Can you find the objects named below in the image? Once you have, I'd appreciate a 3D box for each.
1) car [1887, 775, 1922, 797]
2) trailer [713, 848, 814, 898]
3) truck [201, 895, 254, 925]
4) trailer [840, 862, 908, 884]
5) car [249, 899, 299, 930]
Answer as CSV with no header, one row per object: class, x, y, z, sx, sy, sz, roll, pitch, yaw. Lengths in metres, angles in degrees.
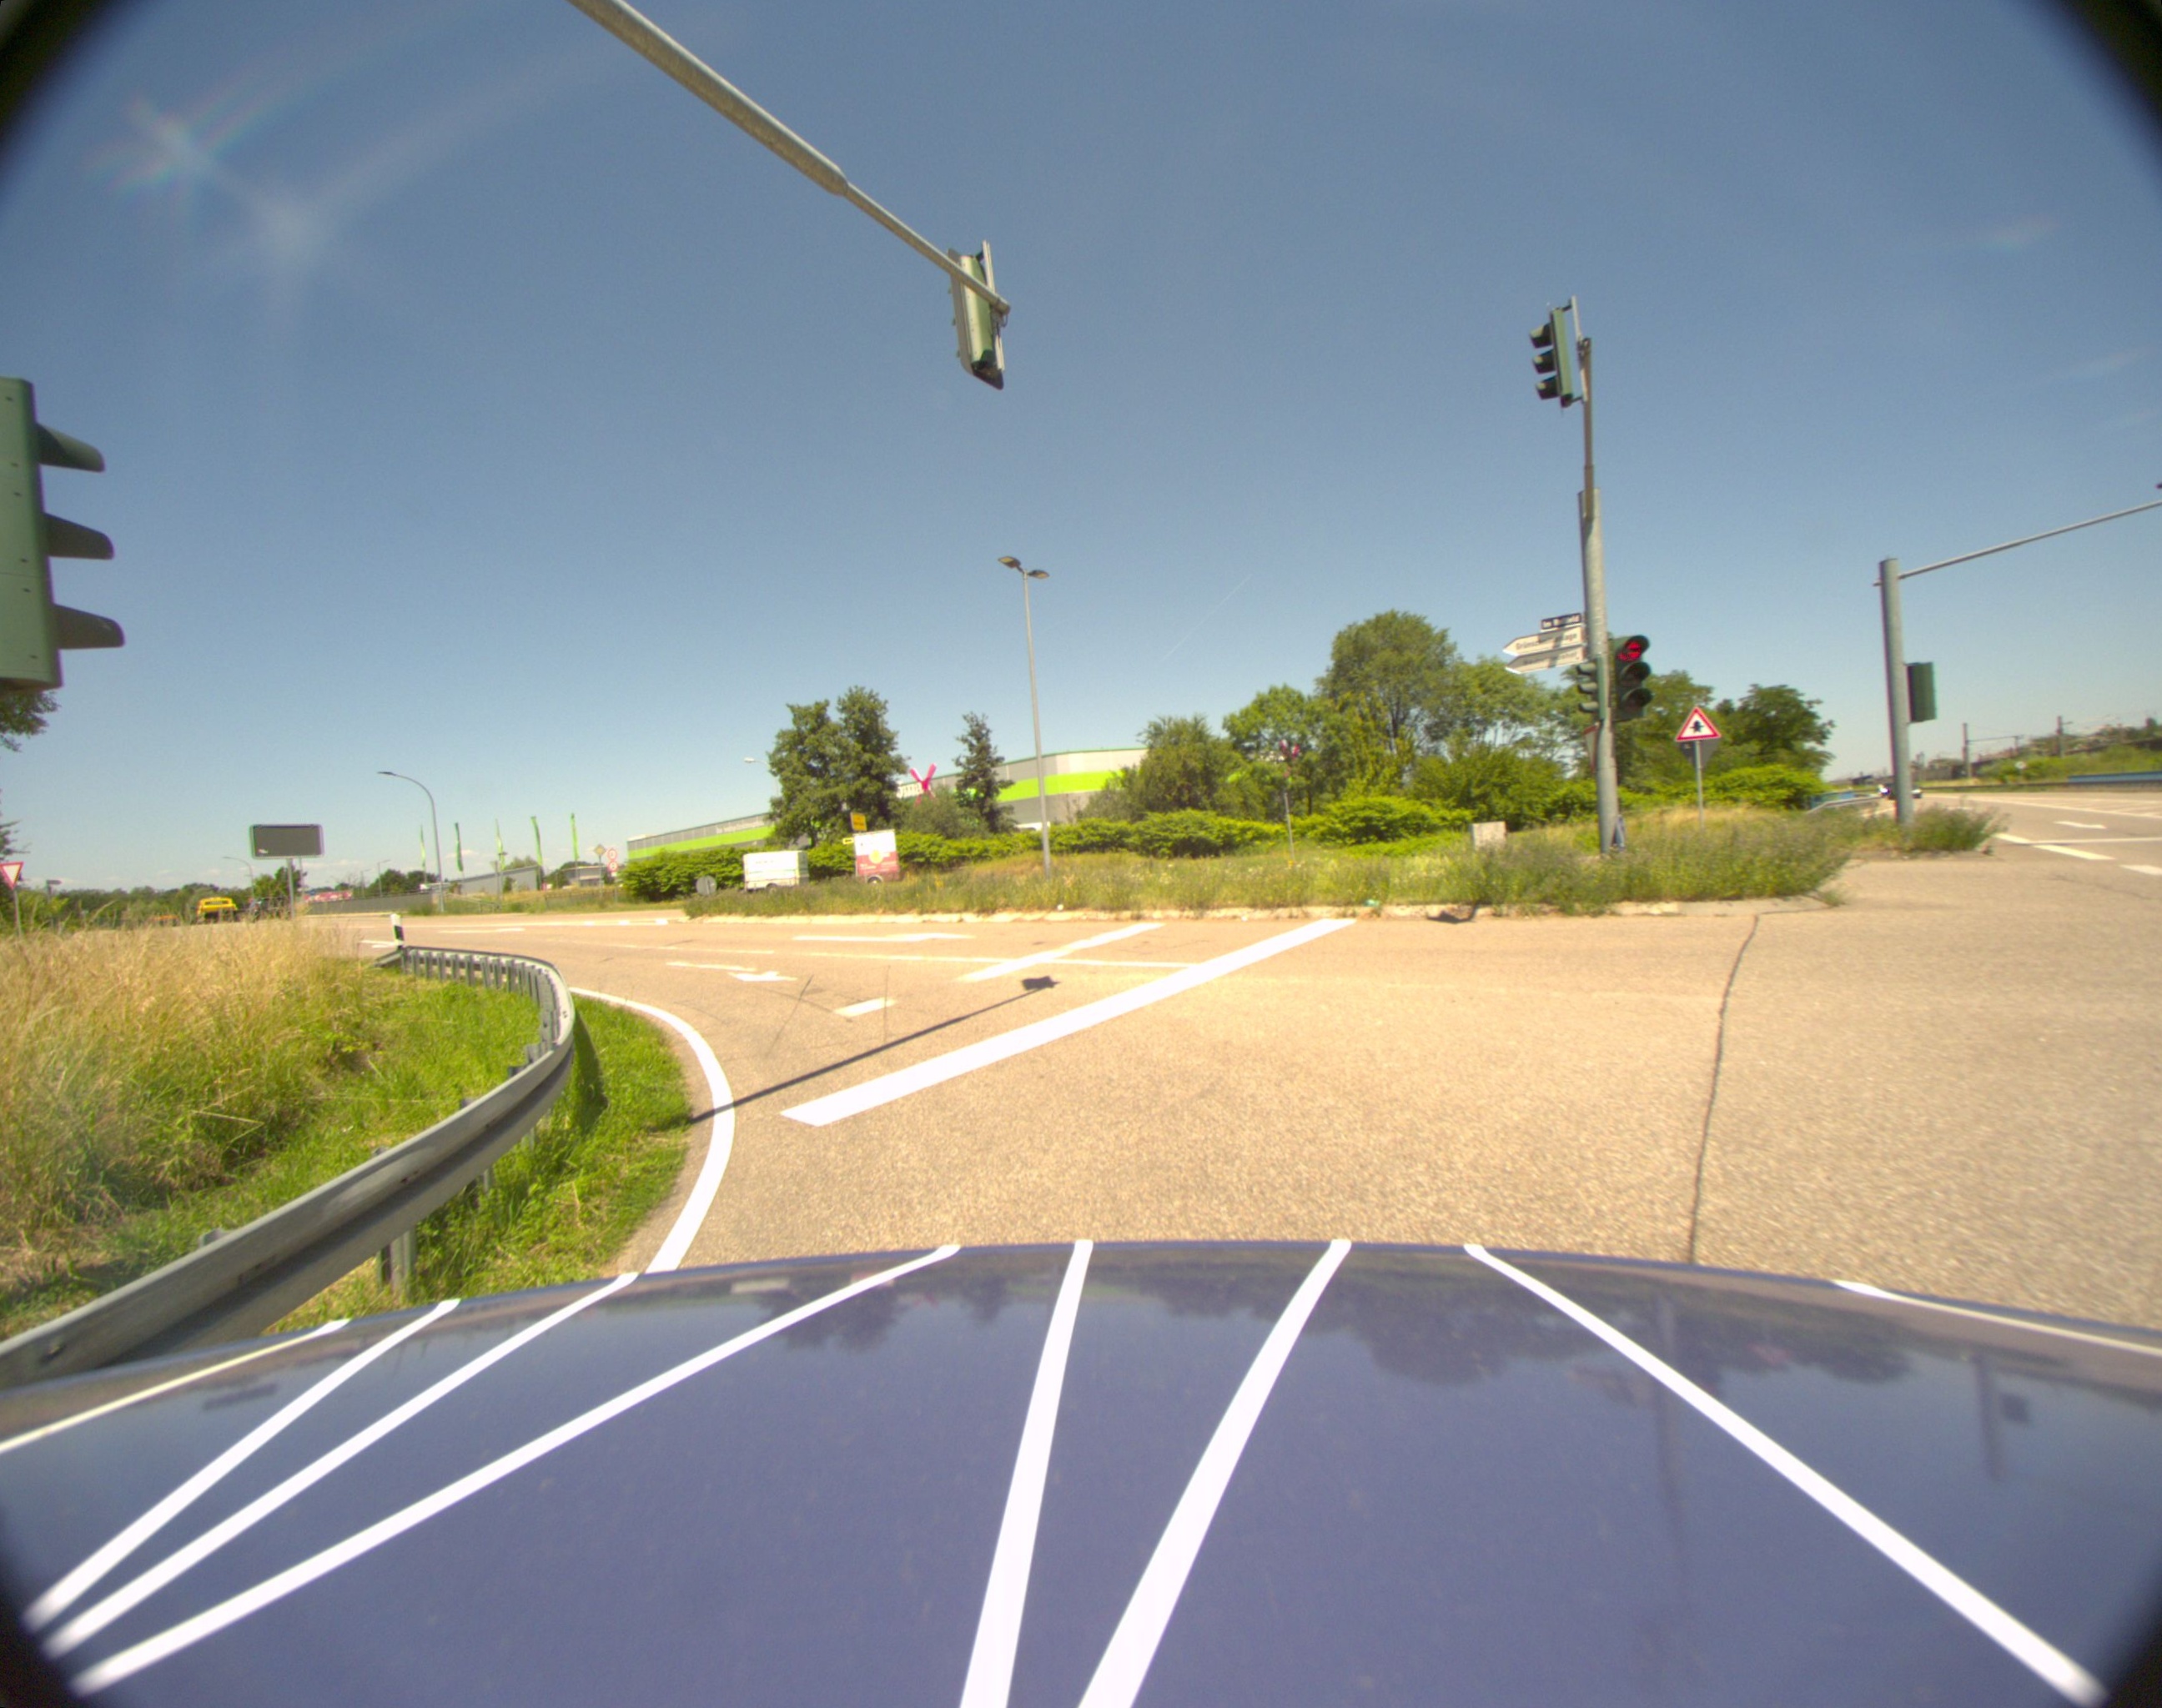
car,72.445,-6.014,66.875,4.006,1.718,1.995,-6,2,-44
trailer,-15.395,0.878,36.997,3.957,2.003,1.855,-5,3,0
truck,-75.835,4.943,67.457,9.026,2.324,2.323,-3,1,37
trailer,-10.149,0.931,37.415,2.850,0.734,1.565,-5,3,0
car,-54.006,3.998,50.848,3.988,1.693,1.912,0,2,39
